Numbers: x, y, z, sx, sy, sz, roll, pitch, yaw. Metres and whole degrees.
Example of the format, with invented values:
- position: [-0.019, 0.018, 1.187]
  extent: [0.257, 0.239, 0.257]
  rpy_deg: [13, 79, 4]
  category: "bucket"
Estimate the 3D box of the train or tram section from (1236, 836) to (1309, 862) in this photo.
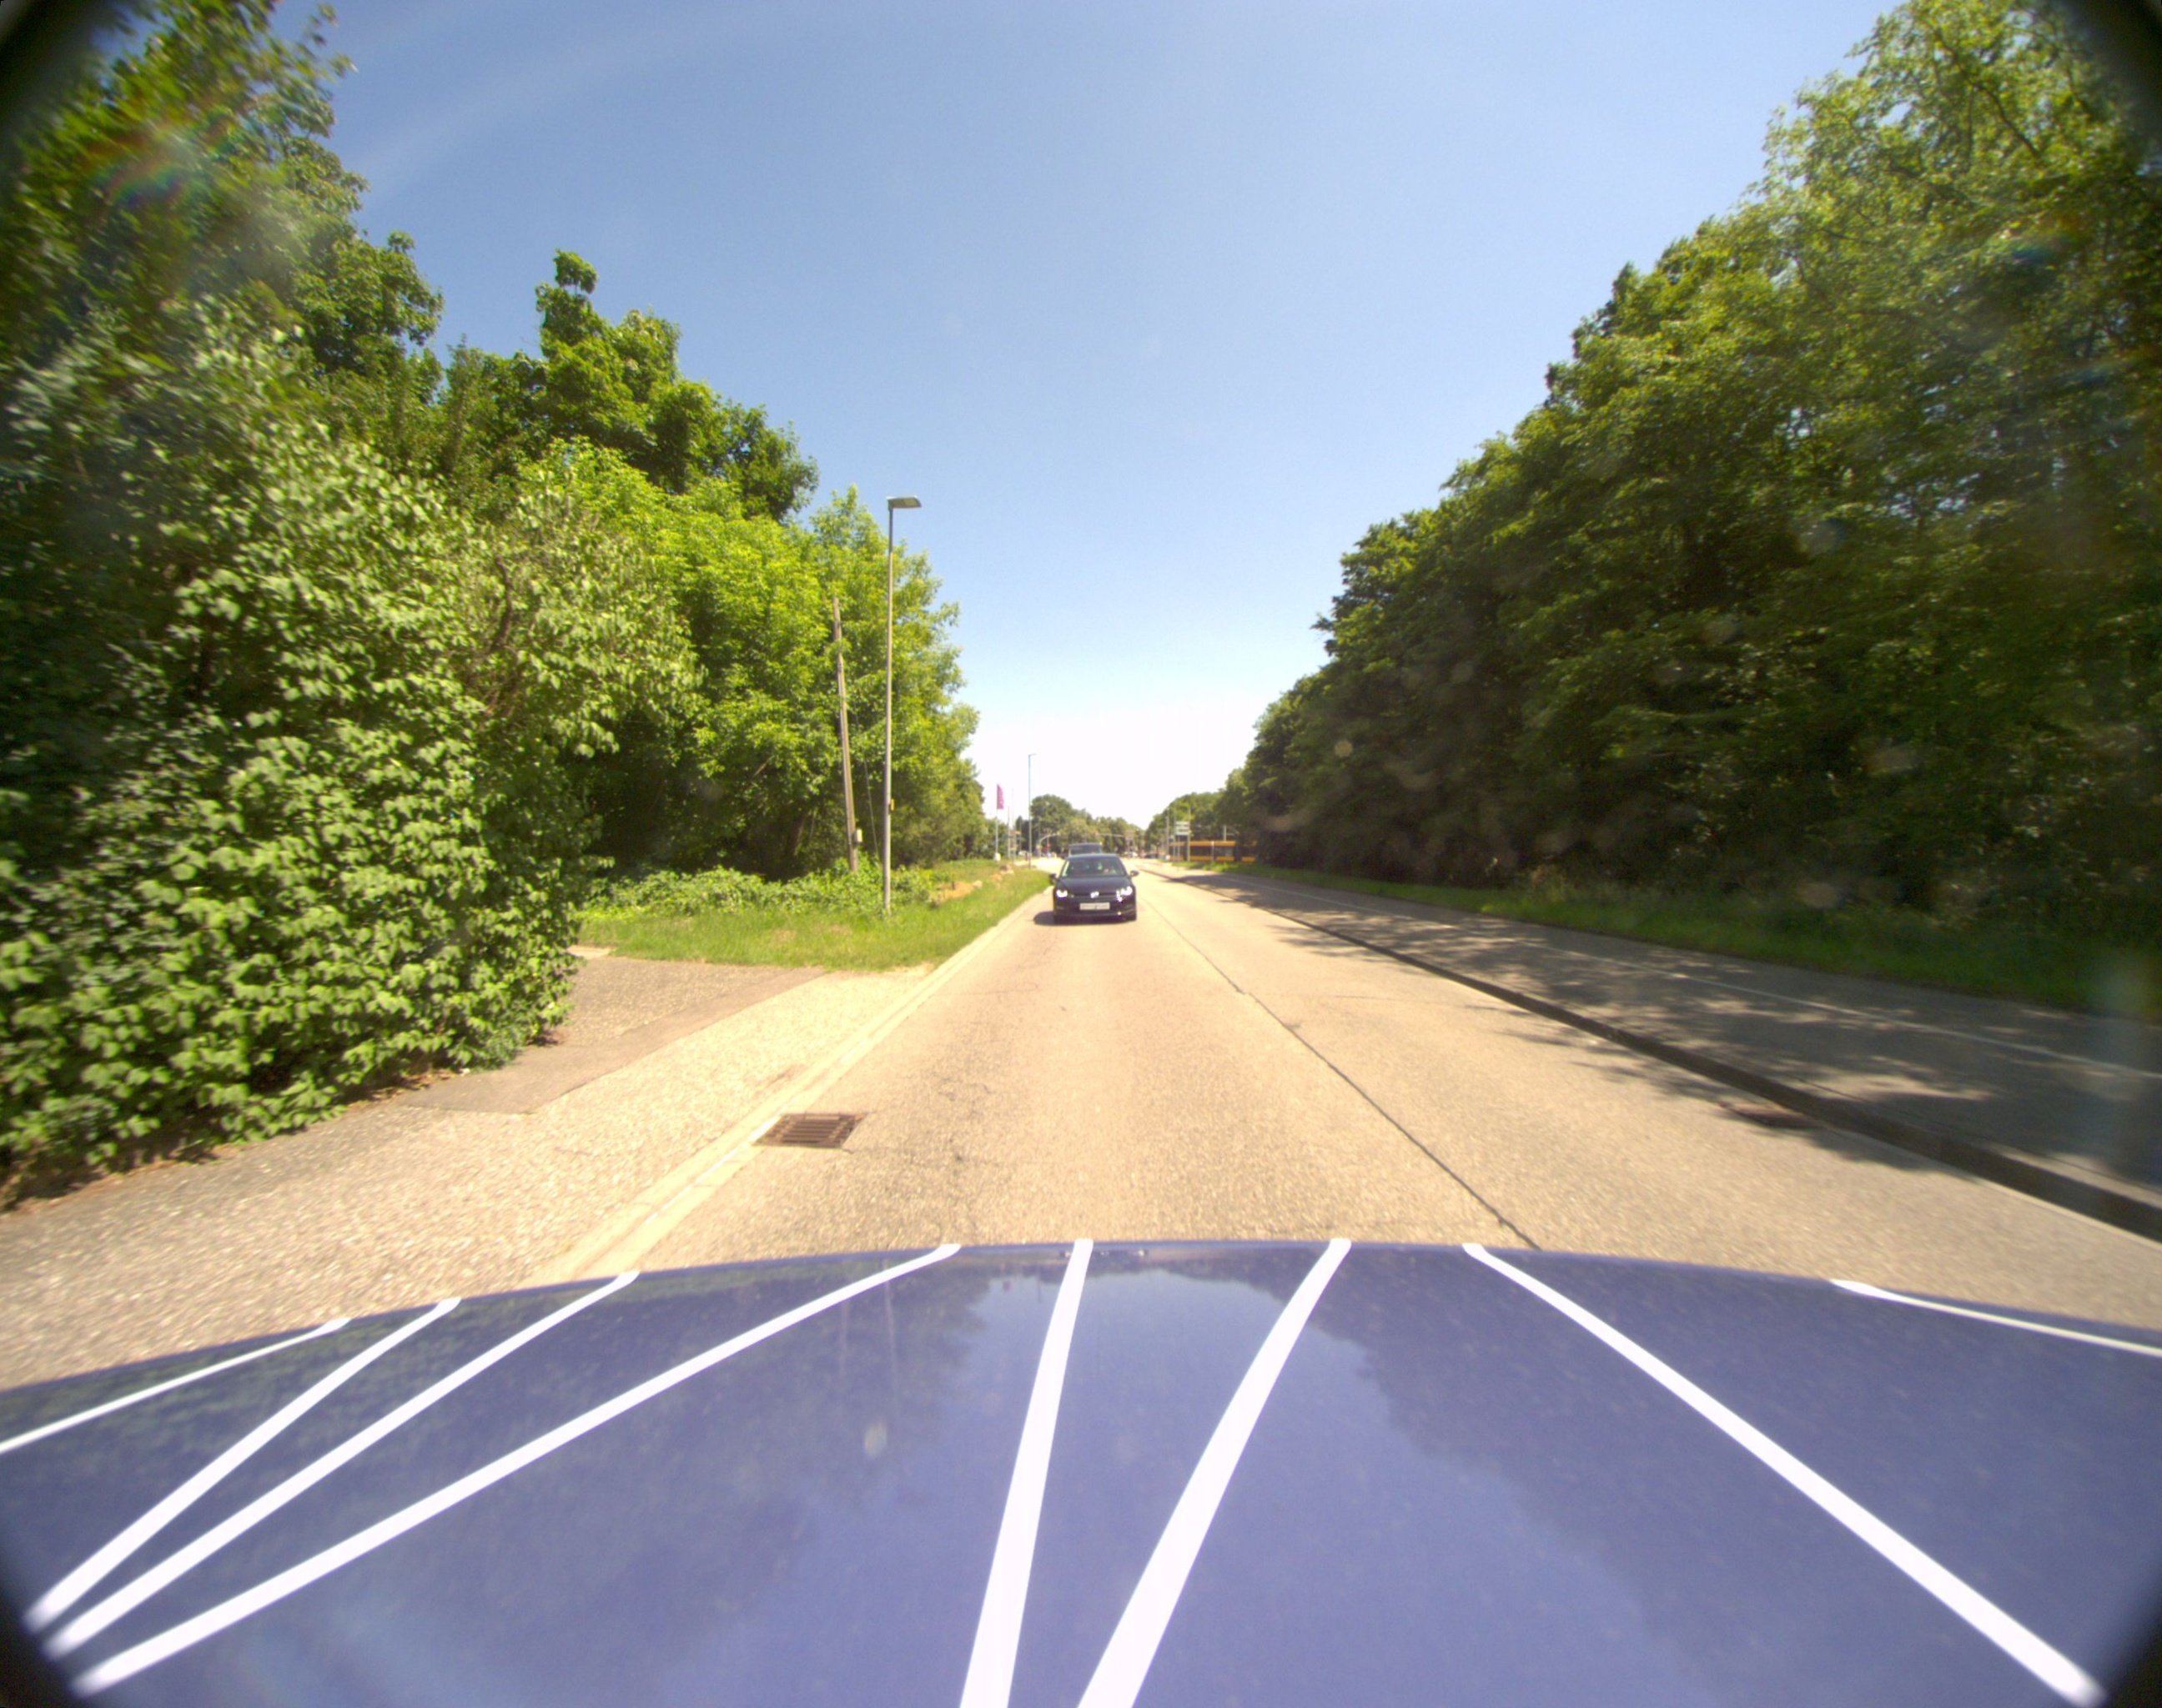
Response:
- position: [26.601, -0.613, 105.735]
  extent: [9.326, 3.446, 2.788]
  rpy_deg: [0, 1, 33]
  category: "train or tram section"

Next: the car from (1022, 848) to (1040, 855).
- position: [-13.899, -0.767, 210.342]
  extent: [4.706, 1.770, 2.004]
  rpy_deg: [0, 0, 33]
  category: "car"

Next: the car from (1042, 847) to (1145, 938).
- position: [0.261, 0.718, 16.658]
  extent: [1.887, 1.668, 4.662]
  rpy_deg: [-2, 0, 1]
  category: "car"

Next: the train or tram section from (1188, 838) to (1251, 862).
- position: [20.294, -0.578, 112.308]
  extent: [2.656, 3.446, 10.827]
  rpy_deg: [-1, 1, -32]
  category: "train or tram section"

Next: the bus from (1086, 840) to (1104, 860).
- position: [2.343, -0.676, 128.536]
  extent: [2.931, 3.248, 8.329]
  rpy_deg: [-1, 0, 1]
  category: "bus"

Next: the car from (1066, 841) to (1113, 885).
- position: [0.350, 0.406, 36.381]
  extent: [2.002, 1.965, 4.449]
  rpy_deg: [-1, 0, -2]
  category: "car"

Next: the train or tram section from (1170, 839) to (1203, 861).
- position: [16.844, -0.596, 122.072]
  extent: [2.579, 3.446, 10.847]
  rpy_deg: [0, 0, -7]
  category: "train or tram section"
